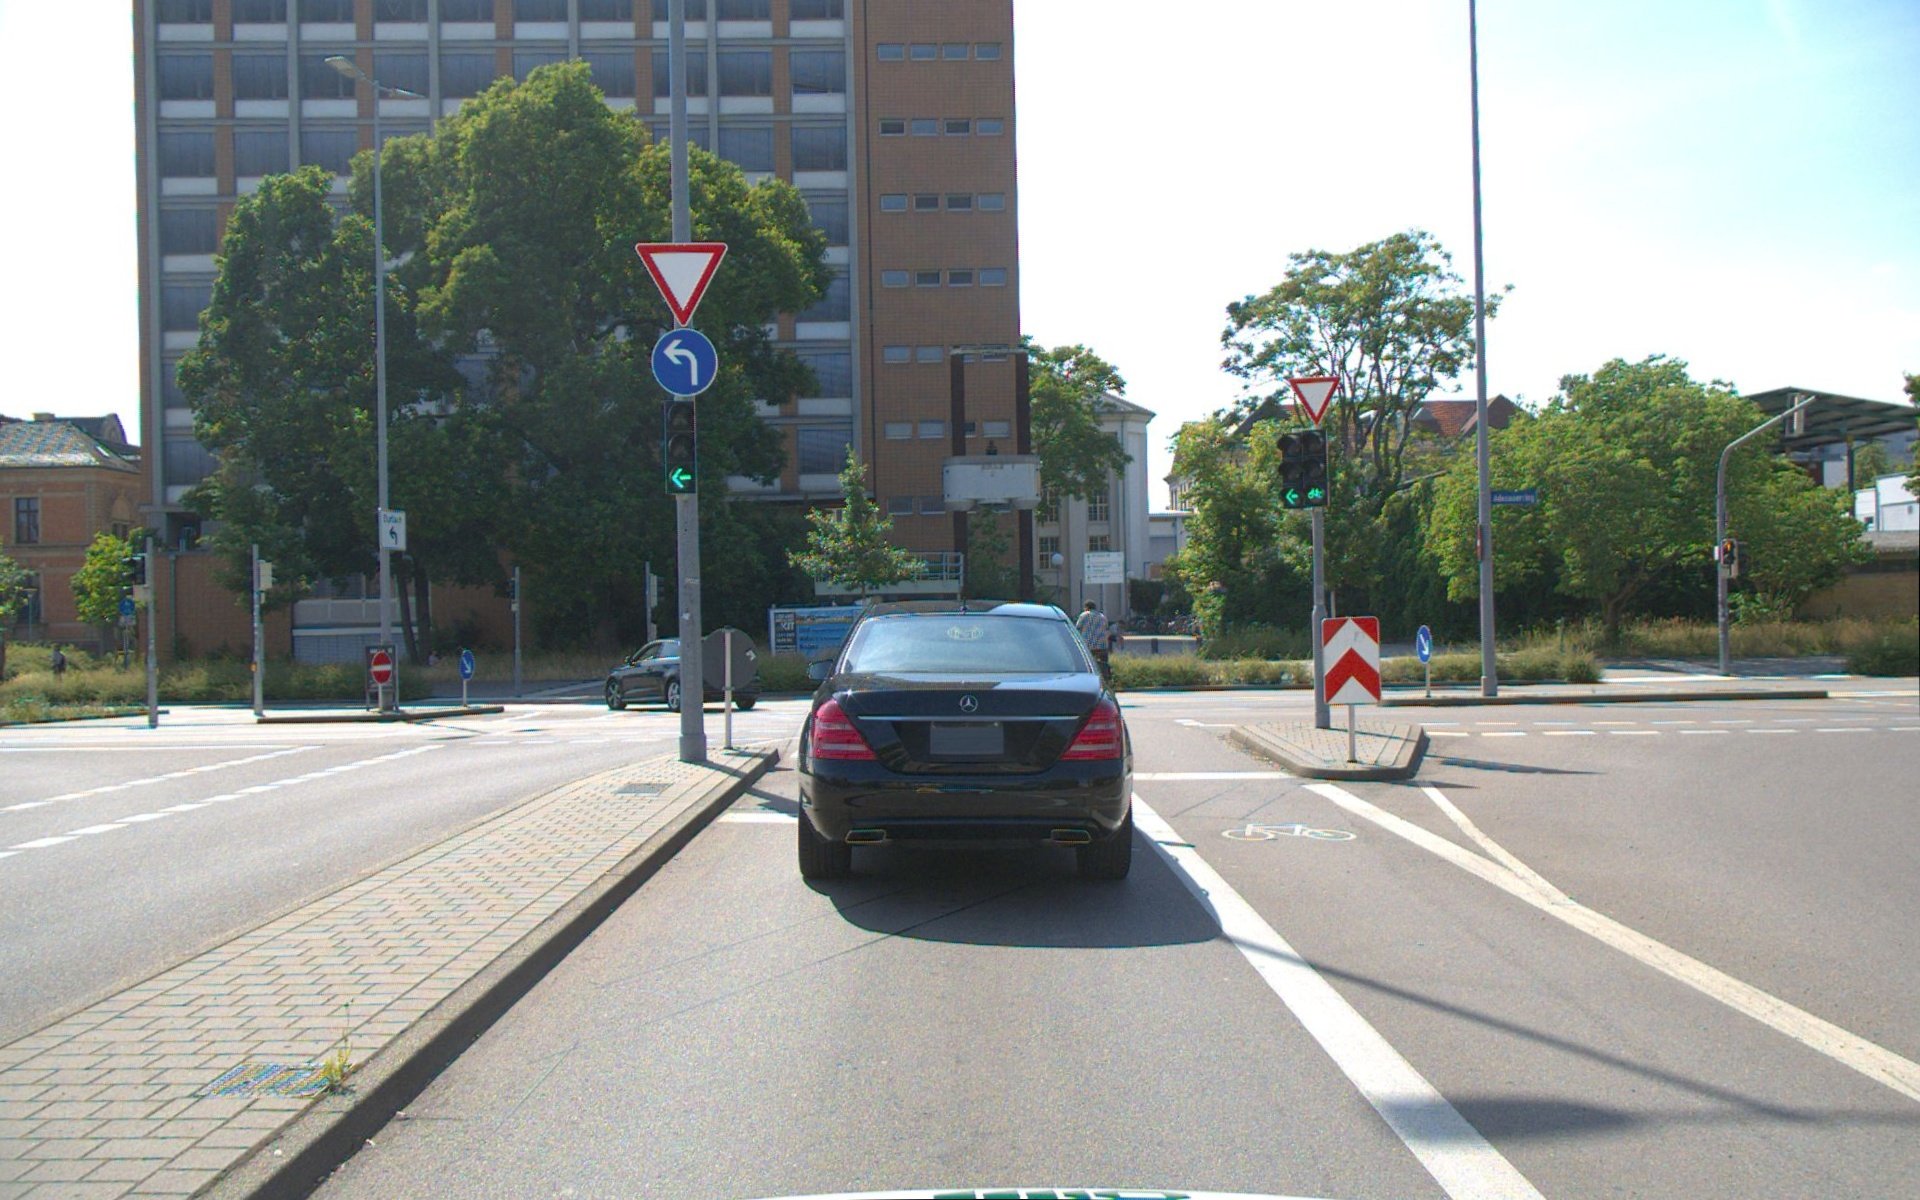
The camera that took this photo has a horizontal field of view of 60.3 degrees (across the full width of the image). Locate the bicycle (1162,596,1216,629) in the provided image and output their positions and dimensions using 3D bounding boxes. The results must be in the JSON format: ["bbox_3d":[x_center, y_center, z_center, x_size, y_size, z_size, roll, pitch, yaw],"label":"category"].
[{"bbox_3d":[12.326,0.651,89.118,2.766,1.678,0.841,-2,0,-2],"label":"bicycle"}]

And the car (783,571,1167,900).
[{"bbox_3d":[0.070,0.672,10.263,1.820,1.557,4.713,0,-1,0],"label":"car"}]

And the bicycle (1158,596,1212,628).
[{"bbox_3d":[12.276,0.651,90.328,2.766,1.688,0.841,-2,1,-2],"label":"bicycle"}]

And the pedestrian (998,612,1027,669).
[{"bbox_3d":[1.514,1.162,47.616,0.794,1.607,0.692,-2,-1,1],"label":"pedestrian"}]

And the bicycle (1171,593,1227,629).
[{"bbox_3d":[12.686,0.583,87.878,2.766,1.775,0.841,-2,0,-2],"label":"bicycle"}]

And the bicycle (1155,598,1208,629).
[{"bbox_3d":[12.222,0.720,91.395,2.766,1.615,0.841,-2,0,-2],"label":"bicycle"}]

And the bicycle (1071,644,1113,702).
[{"bbox_3d":[2.345,1.290,29.632,0.678,0.963,1.959,1,-1,3],"label":"bicycle"}]

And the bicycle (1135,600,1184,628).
[{"bbox_3d":[11.847,0.836,98.426,2.766,1.526,0.841,-2,0,-2],"label":"bicycle"}]

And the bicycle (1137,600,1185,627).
[{"bbox_3d":[12.111,0.827,99.717,2.765,1.506,0.841,-2,0,0],"label":"bicycle"}]

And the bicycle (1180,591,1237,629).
[{"bbox_3d":[12.848,0.529,85.621,2.766,1.868,0.841,-2,0,-2],"label":"bicycle"}]

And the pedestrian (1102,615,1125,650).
[{"bbox_3d":[5.369,1.134,57.809,0.776,1.235,0.758,1,-1,6],"label":"pedestrian"}]

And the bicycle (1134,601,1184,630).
[{"bbox_3d":[11.625,0.894,96.635,2.766,1.586,0.841,-2,0,-2],"label":"bicycle"}]

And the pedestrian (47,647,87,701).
[{"bbox_3d":[-30.053,2.484,55.649,0.781,1.756,0.873,-2,-1,22],"label":"pedestrian"}]

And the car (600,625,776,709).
[{"bbox_3d":[-5.422,1.330,32.668,1.781,1.537,3.945,0,-3,-38],"label":"car"}]

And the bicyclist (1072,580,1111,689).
[{"bbox_3d":[2.345,0.613,29.615,0.671,1.911,0.860,0,-1,2],"label":"bicyclist"}]

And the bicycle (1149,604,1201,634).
[{"bbox_3d":[12.020,1.049,92.407,2.766,1.564,0.841,-2,0,-2],"label":"bicycle"}]
